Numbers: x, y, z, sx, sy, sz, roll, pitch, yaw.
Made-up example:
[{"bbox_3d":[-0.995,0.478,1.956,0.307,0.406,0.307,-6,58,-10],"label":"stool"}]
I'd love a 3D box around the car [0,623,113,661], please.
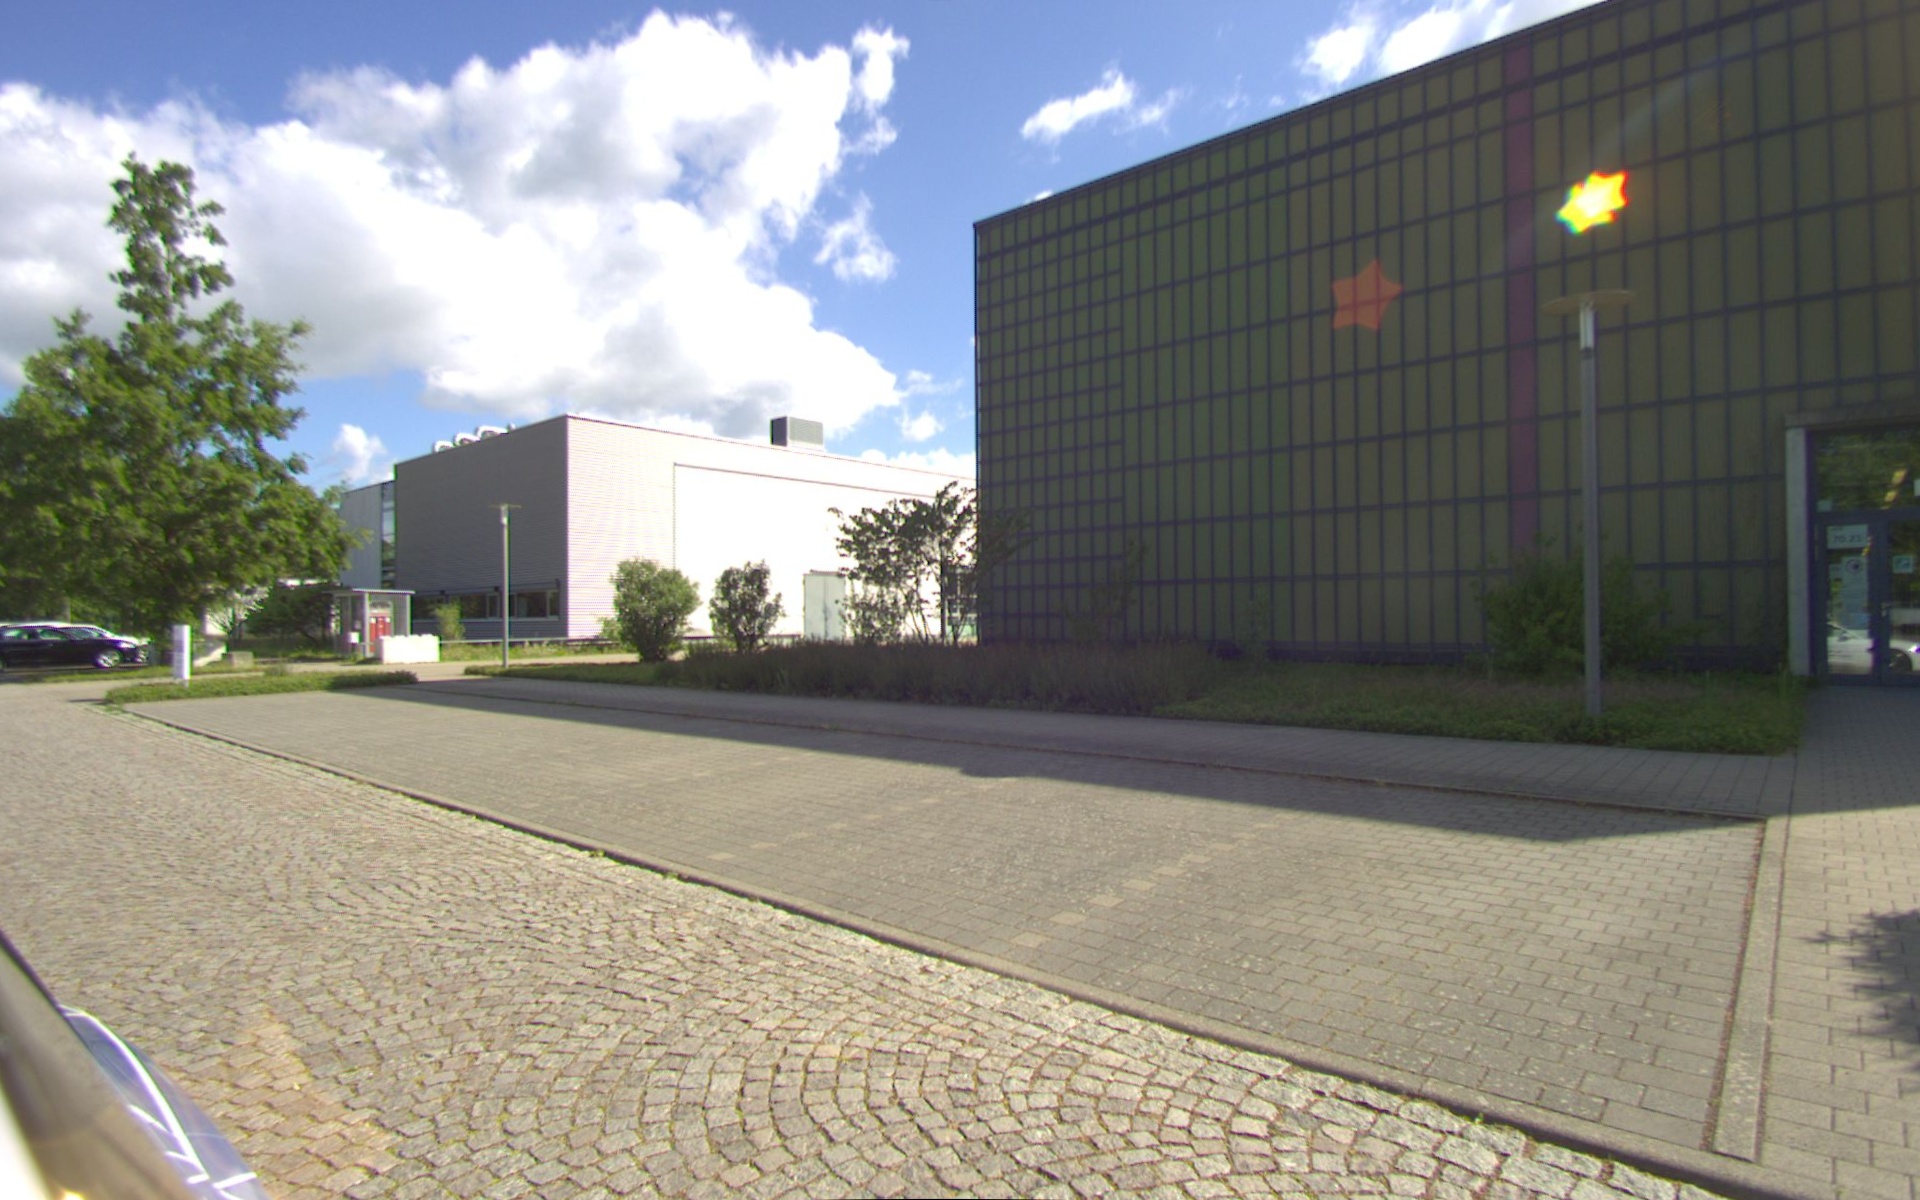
[{"bbox_3d":[-38.975,1.777,43.381,1.795,1.446,3.870,-2,0,42],"label":"car"}]

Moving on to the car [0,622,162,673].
[{"bbox_3d":[-29.773,1.570,34.330,4.089,1.471,1.693,-1,0,-44],"label":"car"}]

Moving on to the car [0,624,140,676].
[{"bbox_3d":[-28.675,1.558,31.501,1.756,1.434,4.670,-2,0,40],"label":"car"}]

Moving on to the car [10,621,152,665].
[{"bbox_3d":[-33.263,1.609,38.361,1.755,1.457,3.870,-2,0,42],"label":"car"}]

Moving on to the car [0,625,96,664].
[{"bbox_3d":[-37.605,1.815,40.936,1.692,1.428,3.870,-2,0,42],"label":"car"}]
